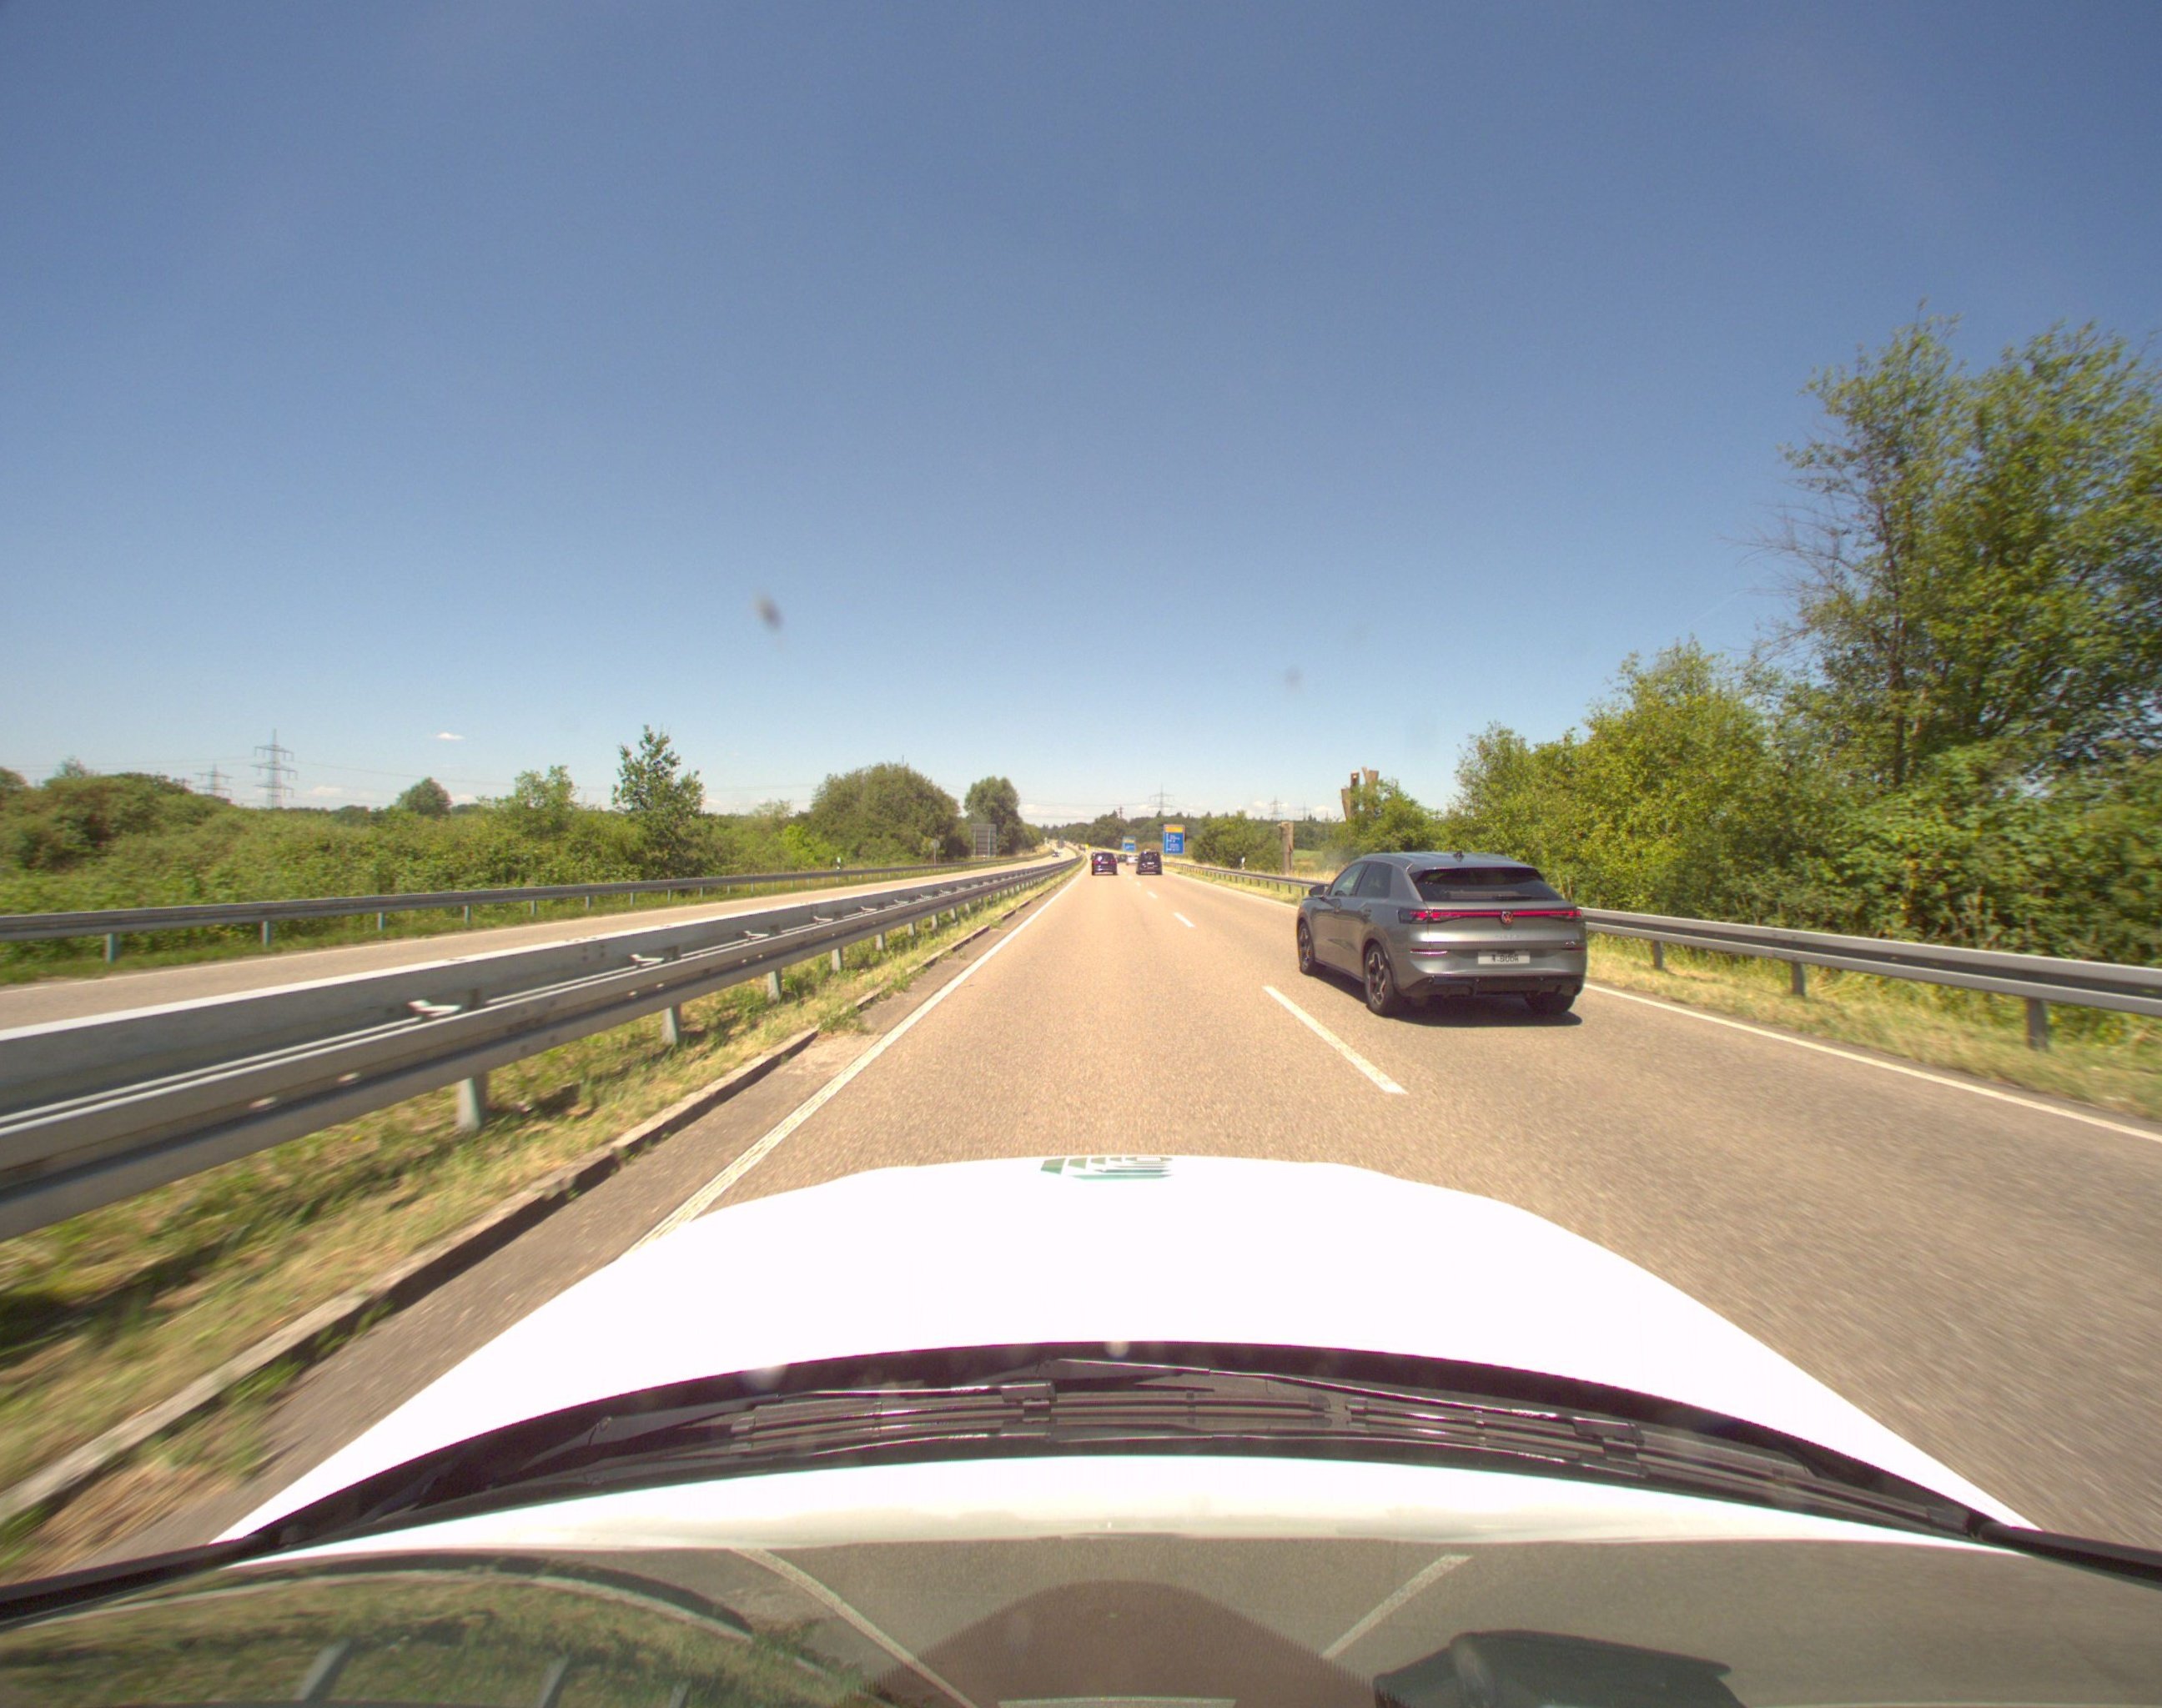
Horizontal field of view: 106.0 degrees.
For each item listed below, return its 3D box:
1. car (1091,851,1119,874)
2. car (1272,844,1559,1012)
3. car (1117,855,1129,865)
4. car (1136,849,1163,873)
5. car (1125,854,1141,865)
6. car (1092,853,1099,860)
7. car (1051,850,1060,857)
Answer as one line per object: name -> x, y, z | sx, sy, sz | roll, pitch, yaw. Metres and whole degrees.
car -> 1.756, 0.633, 61.516 | 1.987, 1.654, 3.999 | 0, 0, 0
car -> 3.604, 0.671, 9.626 | 1.779, 1.553, 4.019 | -1, 1, 0
car -> 6.405, 0.955, 124.589 | 1.813, 1.414, 4.001 | 0, 1, 1
car -> 5.221, 0.501, 62.407 | 1.773, 1.817, 4.214 | 0, 0, 1
car -> 6.715, 0.712, 105.884 | 1.773, 1.479, 4.314 | 0, 0, 0
car -> 3.141, 0.463, 178.656 | 1.510, 1.475, 3.066 | 3, 1, 0
car -> -6.798, -0.113, 215.018 | 1.986, 1.637, 4.875 | 3, 1, 1
